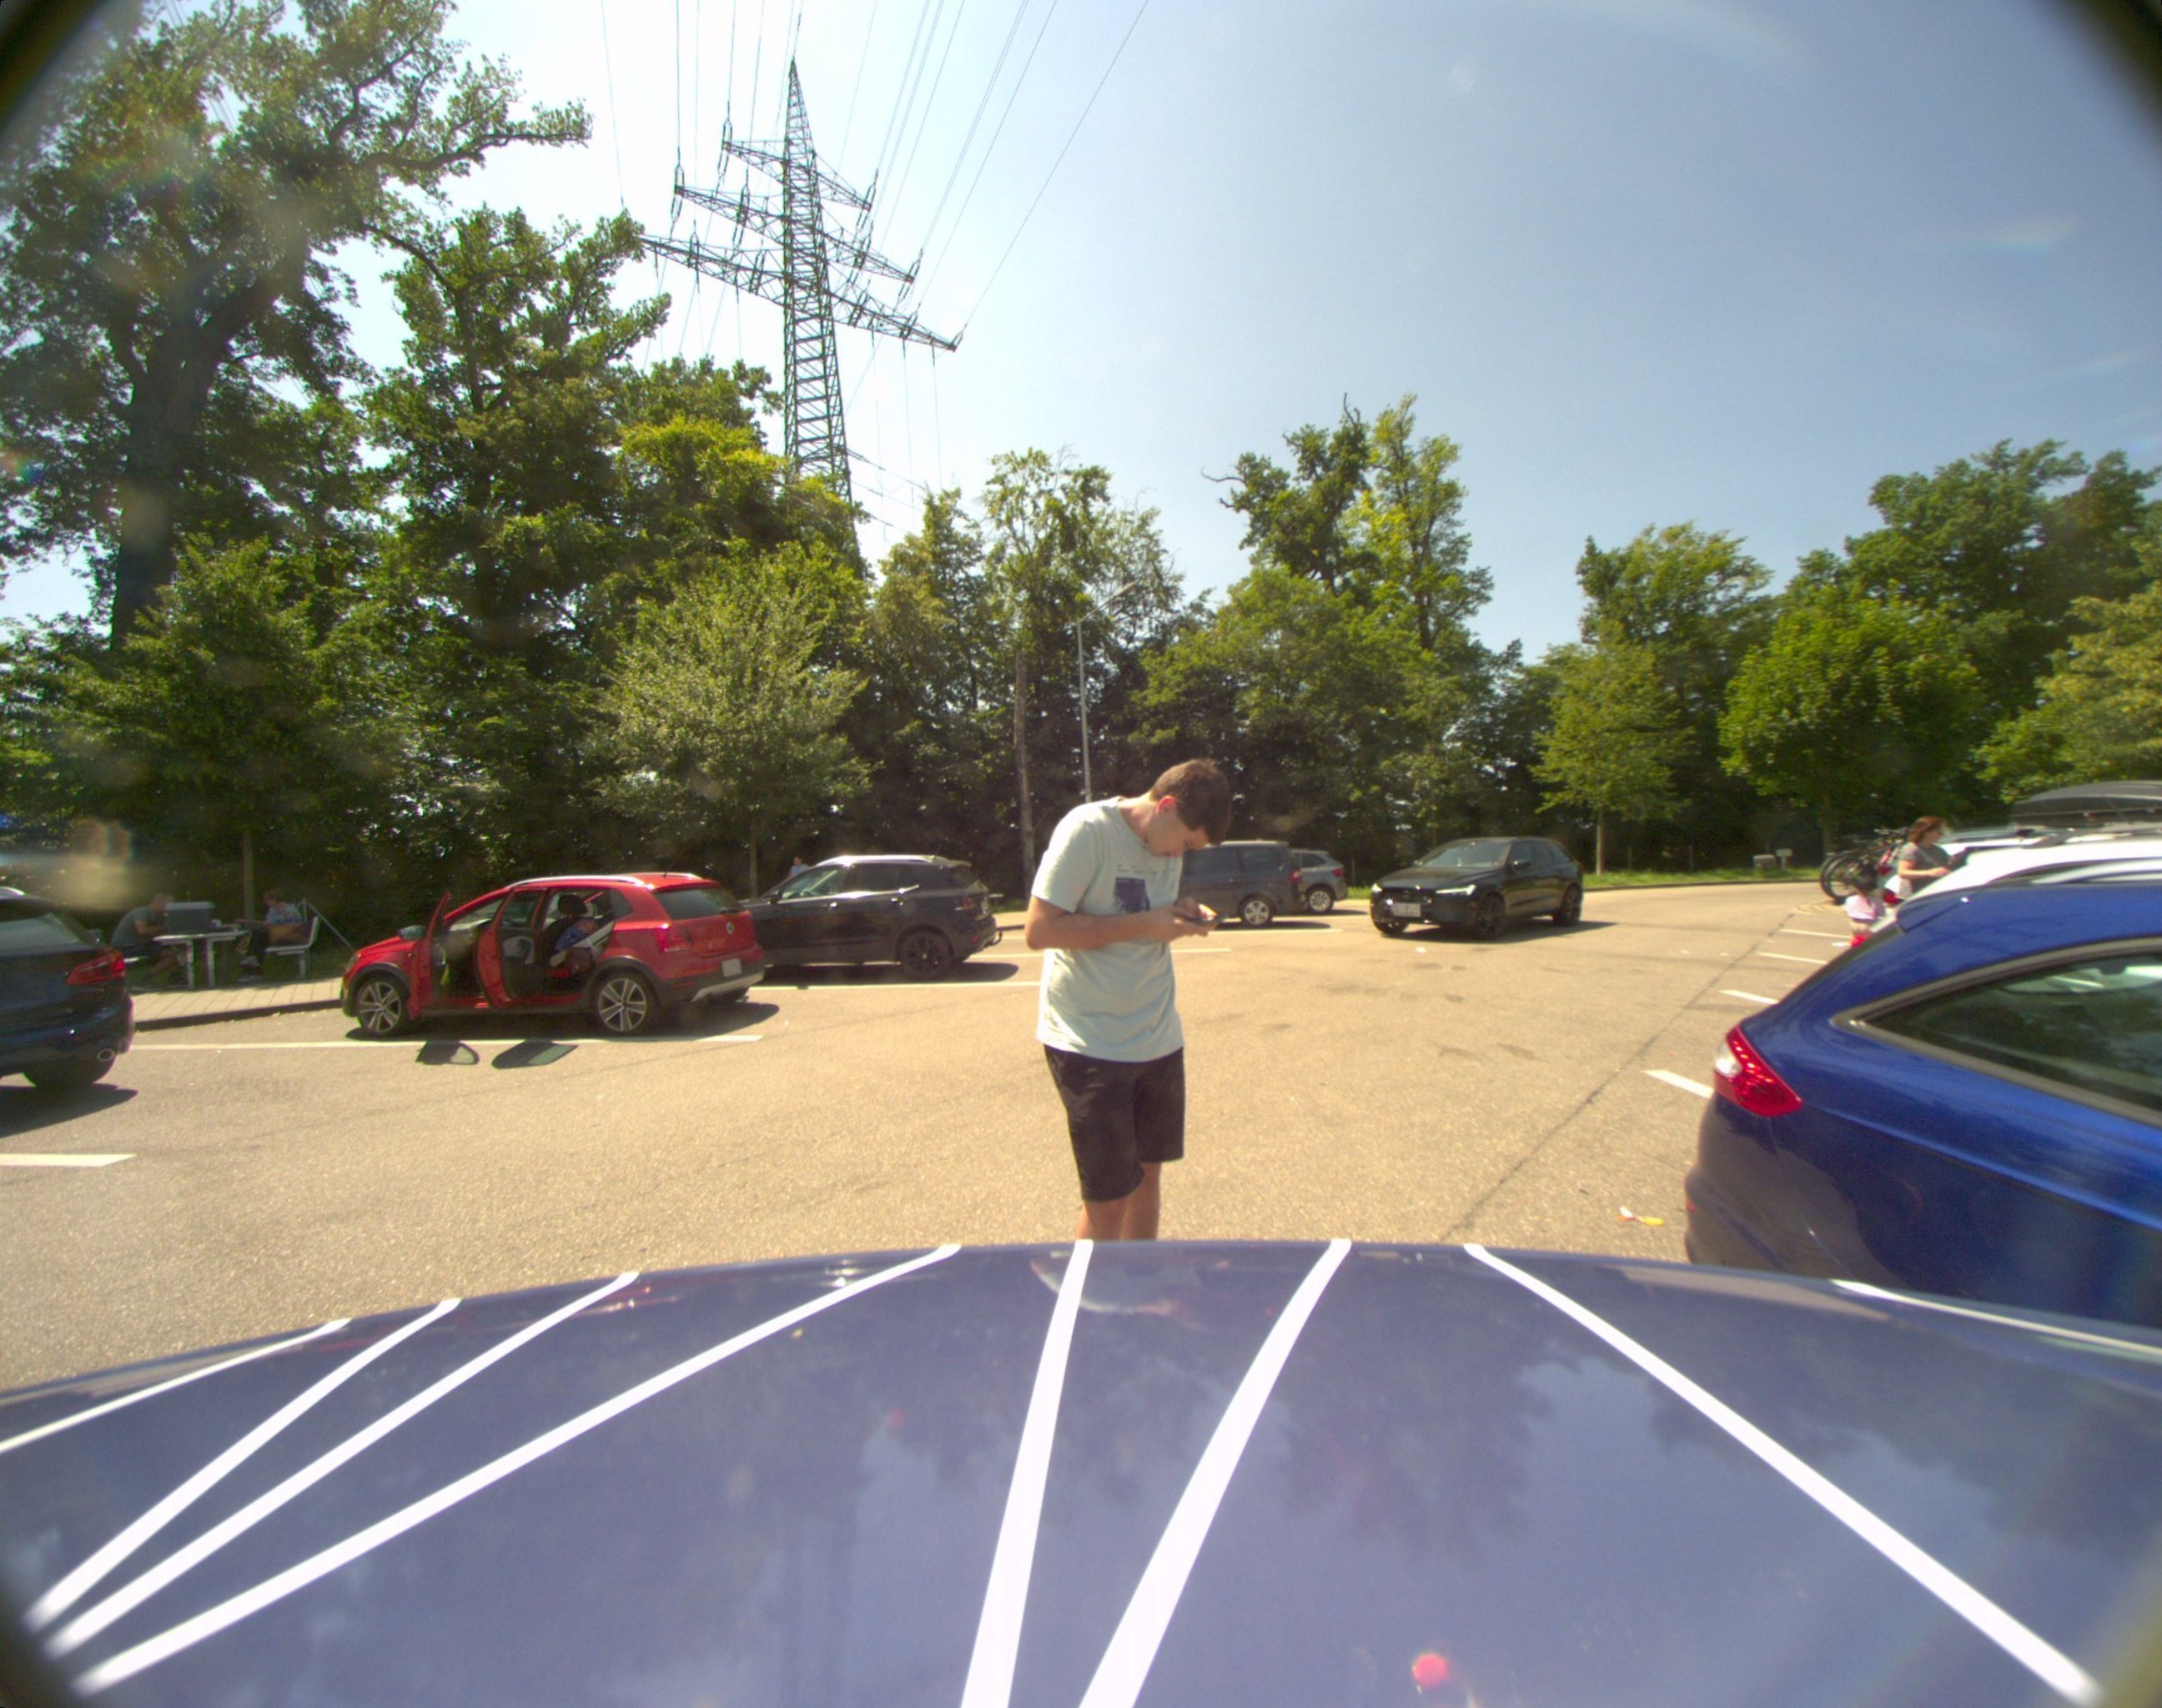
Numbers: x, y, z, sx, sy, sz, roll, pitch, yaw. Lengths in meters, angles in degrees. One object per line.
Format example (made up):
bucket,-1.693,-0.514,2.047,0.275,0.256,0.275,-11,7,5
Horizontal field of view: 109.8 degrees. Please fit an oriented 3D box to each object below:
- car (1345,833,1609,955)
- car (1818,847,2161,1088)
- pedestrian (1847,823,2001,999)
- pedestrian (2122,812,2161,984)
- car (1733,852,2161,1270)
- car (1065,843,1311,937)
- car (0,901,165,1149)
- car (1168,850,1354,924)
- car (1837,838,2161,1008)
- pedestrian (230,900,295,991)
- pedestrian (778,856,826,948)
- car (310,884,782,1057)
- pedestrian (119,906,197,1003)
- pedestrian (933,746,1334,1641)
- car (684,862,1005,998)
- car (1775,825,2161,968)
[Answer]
car,6.951,0.567,13.191,4.624,1.703,1.995,-2,1,-33
car,7.477,0.676,4.491,1.776,1.418,4.495,-3,-1,-1
pedestrian,8.493,0.538,7.681,0.676,1.653,0.832,-2,0,-21
pedestrian,11.233,0.425,7.644,0.677,1.722,0.831,-2,1,-40
car,4.875,0.745,2.331,1.776,1.491,4.495,-3,-1,-1
car,2.139,0.717,15.448,4.619,1.701,1.740,-2,0,9
car,-8.883,1.172,4.968,3.934,1.534,1.812,-2,0,7
car,4.143,0.747,17.987,3.996,1.495,1.687,-2,1,3
car,10.110,0.573,6.877,1.777,1.418,4.493,-3,-1,-5
pedestrian,-11.950,1.317,11.102,0.695,1.228,0.588,-3,0,43
pedestrian,-5.752,0.971,15.664,0.767,1.821,0.519,-3,1,-33
car,-5.188,1.099,7.613,3.730,1.440,1.591,-2,0,7
pedestrian,-12.631,1.351,10.413,0.695,1.228,0.588,-3,0,43
pedestrian,0.084,0.731,2.063,0.861,1.940,0.687,-2,1,-12
car,-3.032,0.956,10.290,3.732,1.578,1.739,-2,0,2
car,12.541,0.478,10.349,1.777,1.541,4.493,-3,-1,-5
